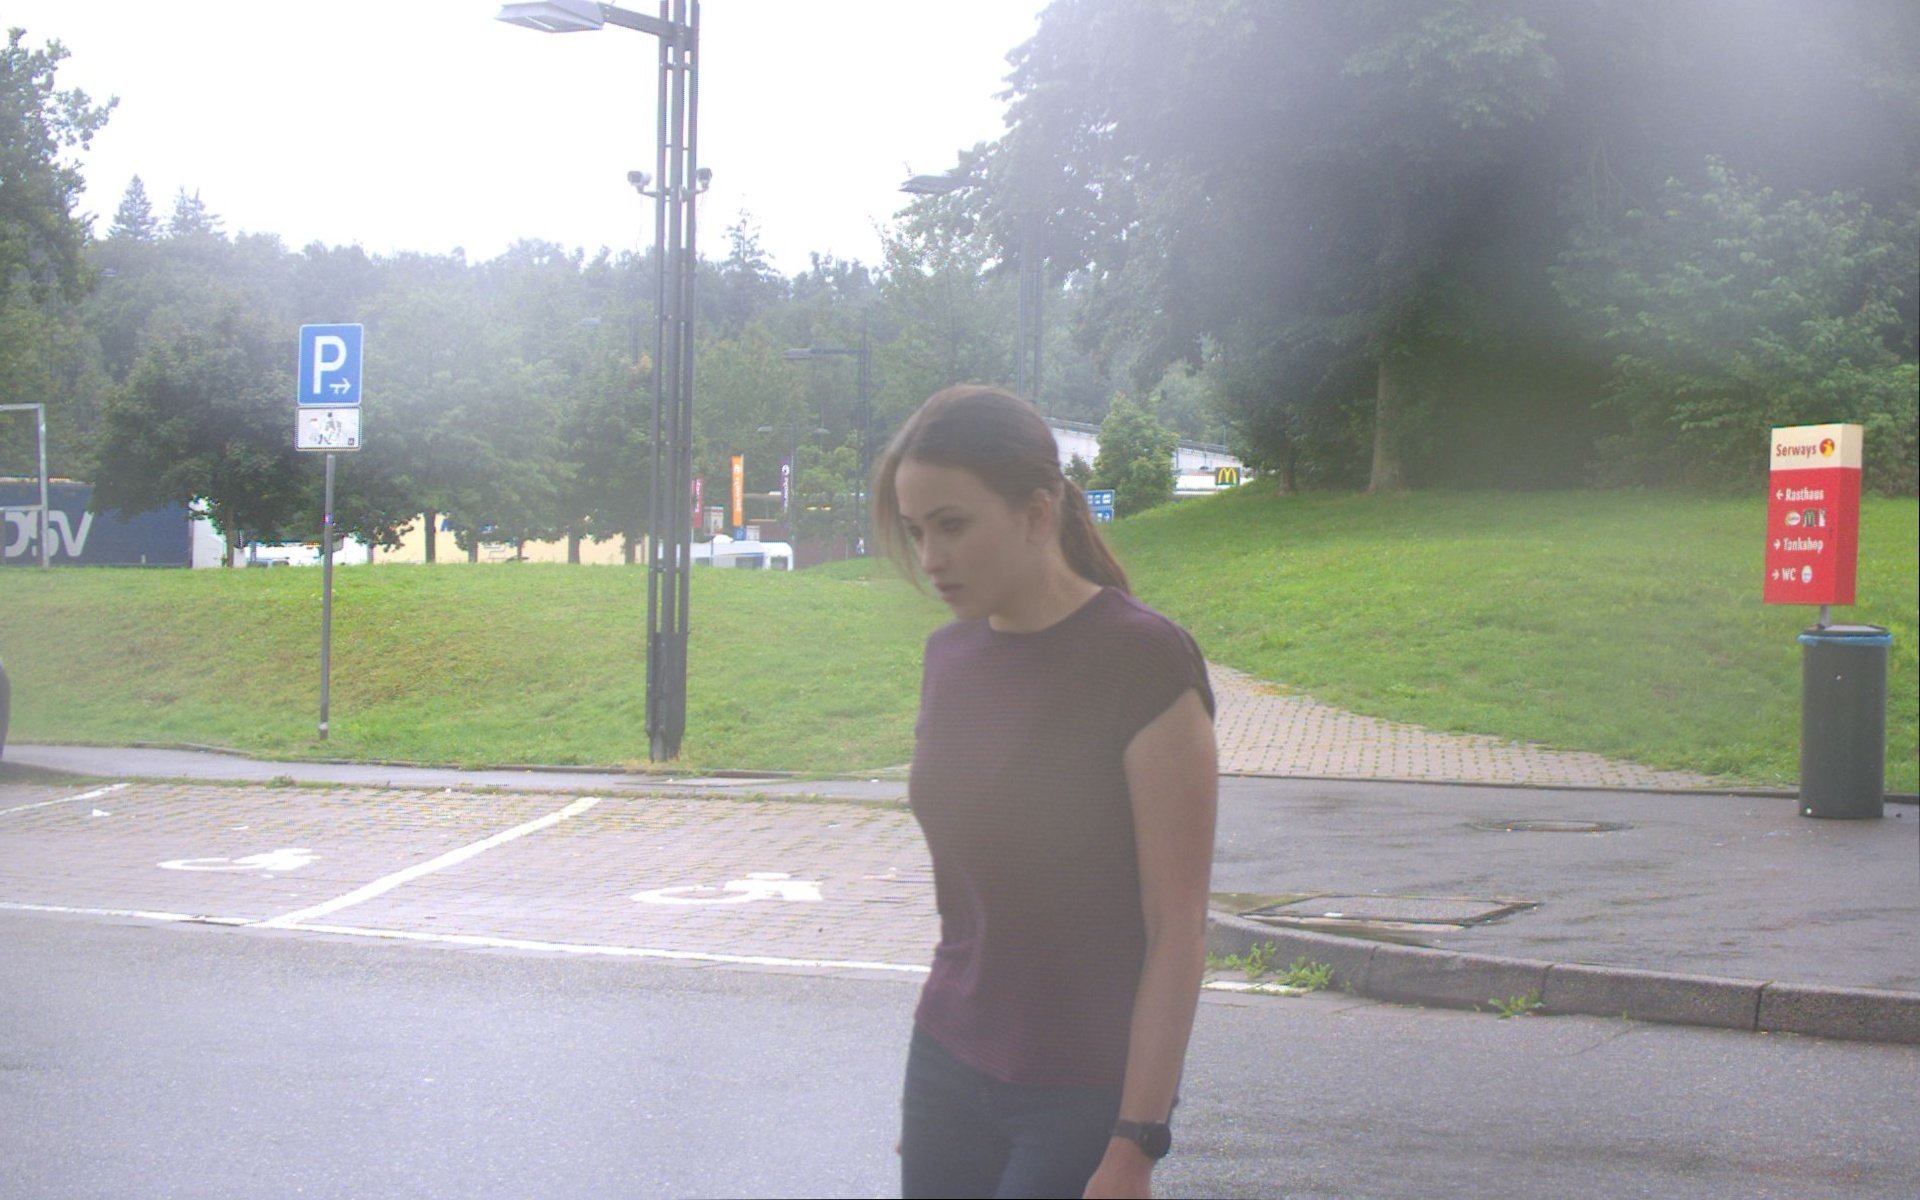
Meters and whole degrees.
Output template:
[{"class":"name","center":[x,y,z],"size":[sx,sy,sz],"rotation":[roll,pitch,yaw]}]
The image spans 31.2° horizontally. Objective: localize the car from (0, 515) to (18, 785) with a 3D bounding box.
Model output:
[{"class":"car","center":[-7.772,0.375,21.432],"size":[1.885,1.821,4.411],"rotation":[0,1,11]}]

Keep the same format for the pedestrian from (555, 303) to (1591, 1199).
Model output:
[{"class":"pedestrian","center":[0.142,0.584,3.739],"size":[0.796,1.728,0.838],"rotation":[0,1,35]}]

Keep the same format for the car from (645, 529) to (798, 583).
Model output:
[{"class":"car","center":[-9.274,-1.725,133.759],"size":[5.429,2.007,2.453],"rotation":[1,1,20]}]
